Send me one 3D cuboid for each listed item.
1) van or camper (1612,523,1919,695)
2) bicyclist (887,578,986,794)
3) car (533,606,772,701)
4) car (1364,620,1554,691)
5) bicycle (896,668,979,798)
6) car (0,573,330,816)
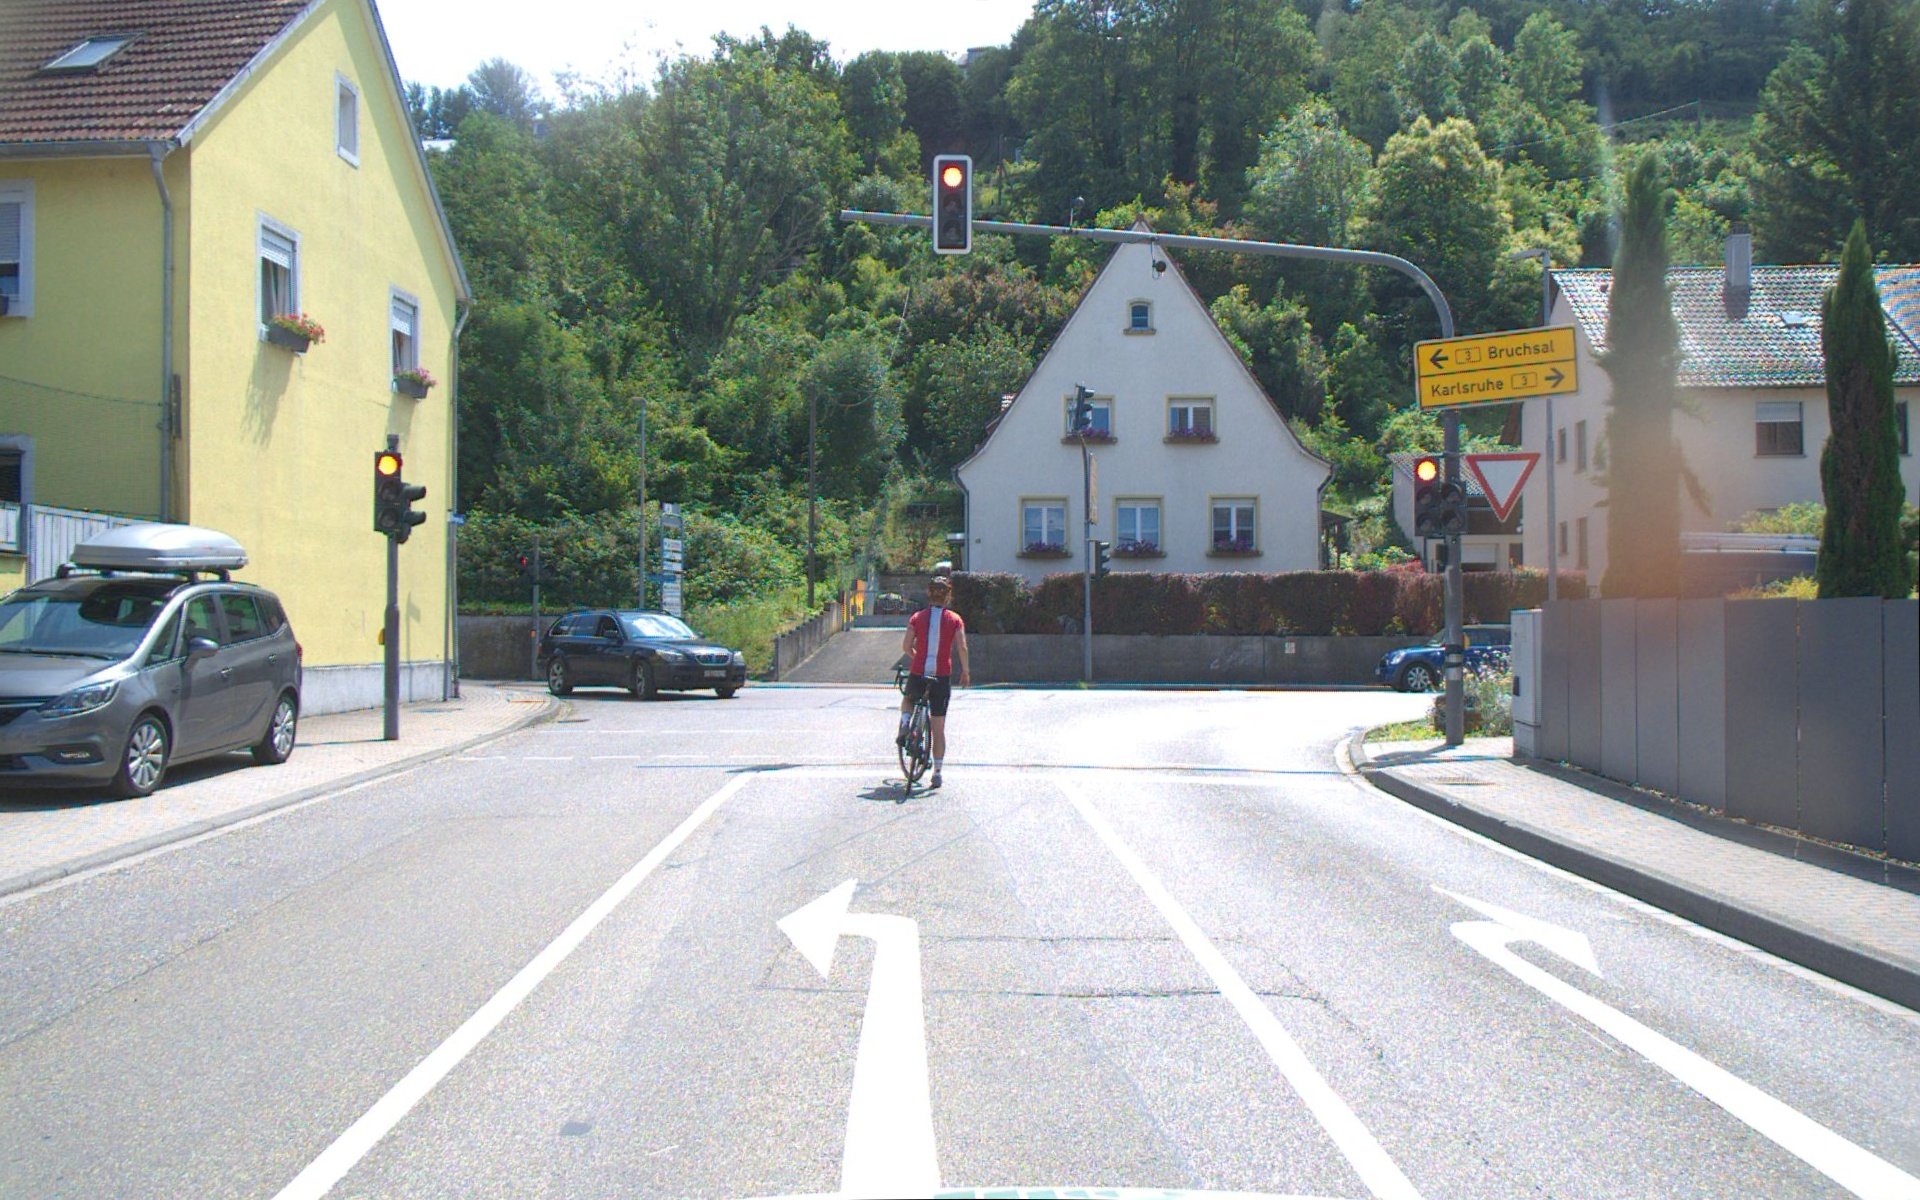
[{"bbox_3d":[15.491,0.171,30.780,5.865,3.057,2.220,0,-1,6],"label":"van or camper"},{"bbox_3d":[-0.196,0.682,13.499,0.745,1.694,0.868,1,-1,-2],"label":"bicyclist"},{"bbox_3d":[-5.358,0.888,28.420,1.855,1.467,4.596,-1,-1,-43],"label":"car"},{"bbox_3d":[10.463,1.183,34.855,3.533,1.387,1.645,1,-3,2],"label":"car"},{"bbox_3d":[-0.192,1.053,13.490,0.617,0.921,1.656,1,-1,-1],"label":"bicycle"},{"bbox_3d":[-7.057,0.649,13.723,1.953,1.664,4.628,2,0,-2],"label":"car"}]
